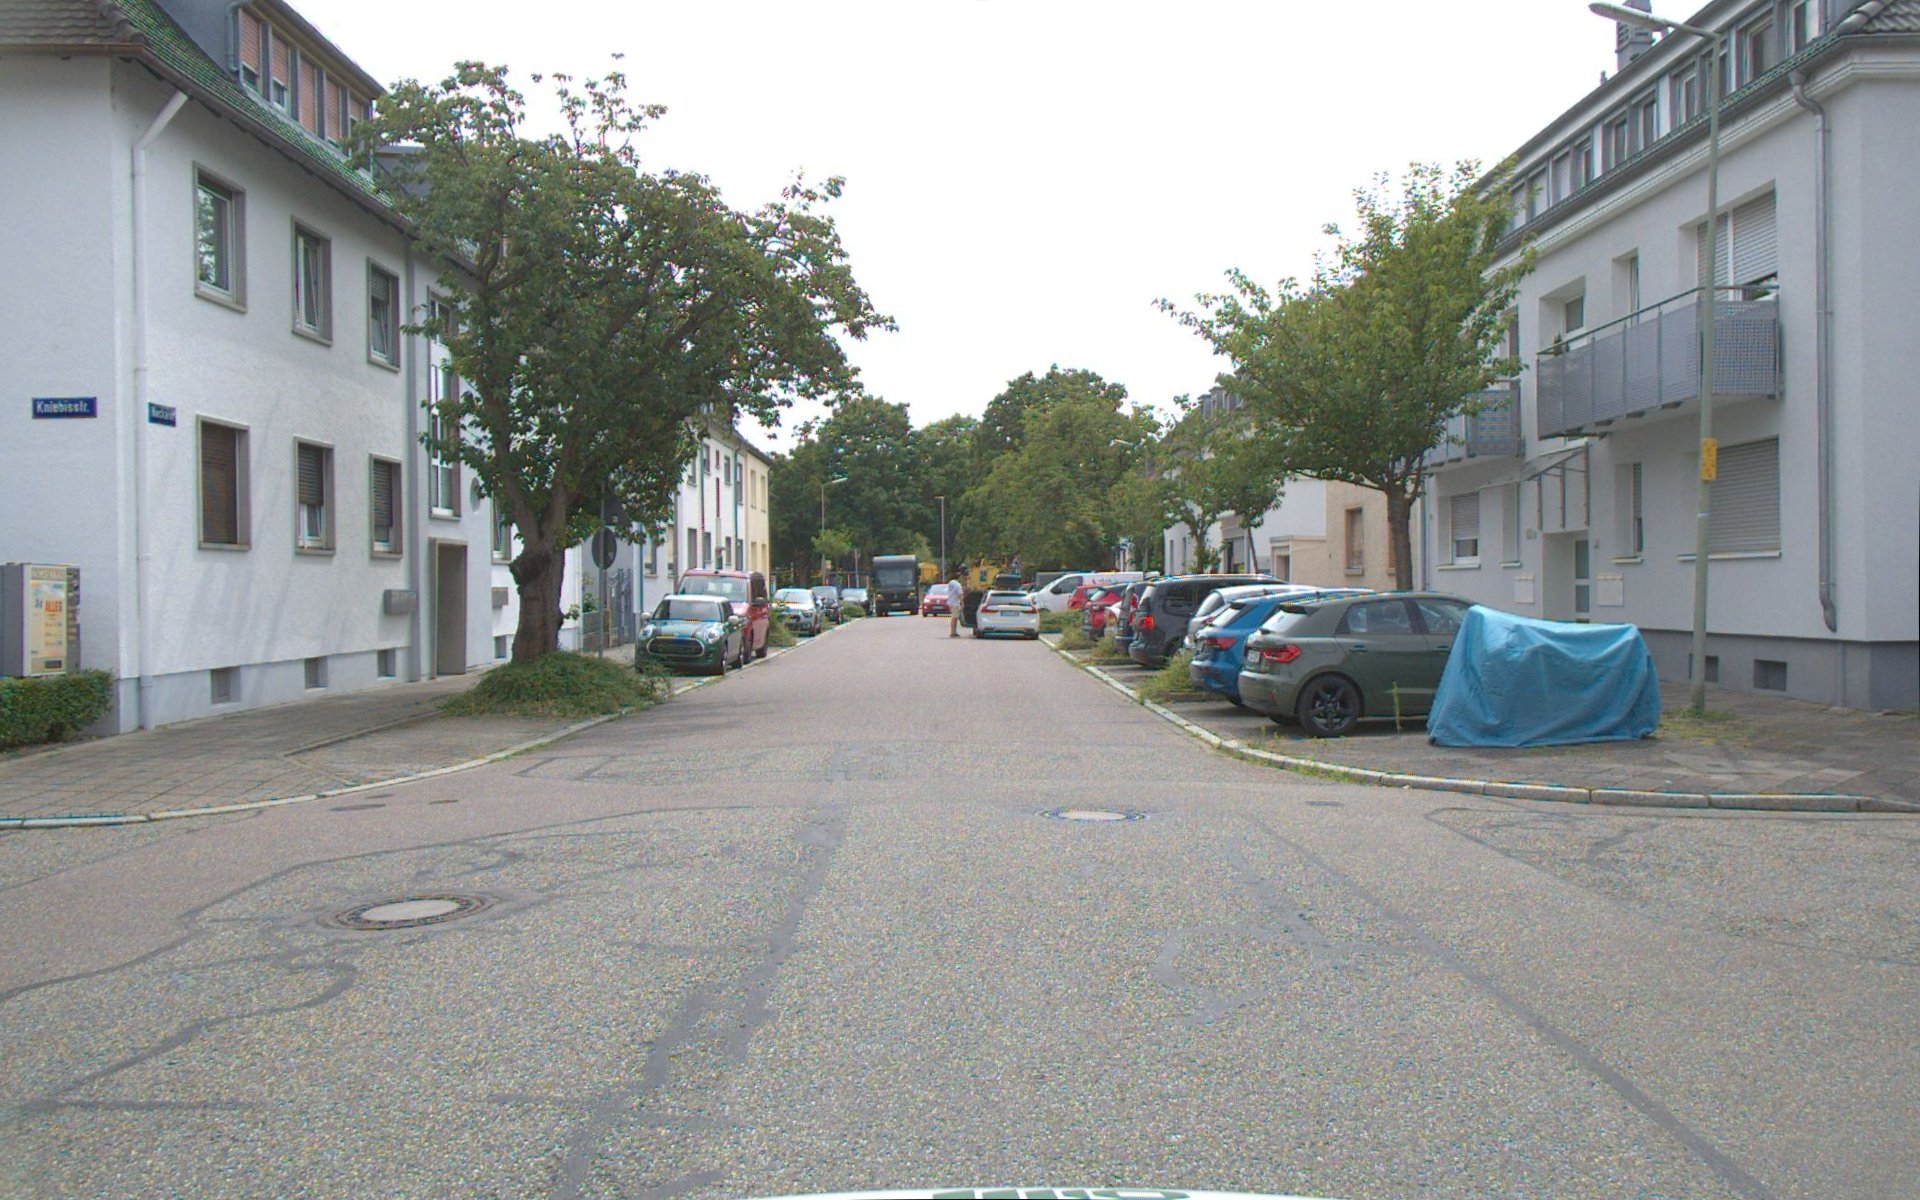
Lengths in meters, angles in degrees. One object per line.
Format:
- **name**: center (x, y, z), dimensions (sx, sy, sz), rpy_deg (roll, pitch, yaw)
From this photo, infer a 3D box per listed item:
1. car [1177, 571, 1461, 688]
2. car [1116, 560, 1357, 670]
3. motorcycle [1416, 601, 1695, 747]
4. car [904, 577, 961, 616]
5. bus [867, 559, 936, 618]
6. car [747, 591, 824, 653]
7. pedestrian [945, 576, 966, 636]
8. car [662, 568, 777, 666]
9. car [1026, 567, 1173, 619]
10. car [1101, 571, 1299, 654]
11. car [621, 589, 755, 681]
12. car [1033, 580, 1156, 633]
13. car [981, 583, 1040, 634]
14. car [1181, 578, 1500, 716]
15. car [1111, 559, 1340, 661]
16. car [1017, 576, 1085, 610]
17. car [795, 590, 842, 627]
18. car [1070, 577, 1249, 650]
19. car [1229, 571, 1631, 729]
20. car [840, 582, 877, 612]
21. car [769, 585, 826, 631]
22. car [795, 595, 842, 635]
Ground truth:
- **car**: center (5.413, 0.427, 25.255), dimensions (3.906, 1.545, 1.722), rpy_deg (-3, 0, -1)
- **car**: center (4.542, 0.238, 27.575), dimensions (3.671, 1.591, 1.773), rpy_deg (-3, 0, 1)
- **motorcycle**: center (5.292, 0.637, 14.795), dimensions (2.149, 1.232, 0.939), rpy_deg (-1, 0, -2)
- **car**: center (-1.241, -0.184, 76.957), dimensions (1.951, 1.646, 4.004), rpy_deg (-3, 0, 9)
- **bus**: center (-2.994, -0.636, 87.140), dimensions (2.942, 2.809, 8.926), rpy_deg (-3, 0, 1)
- **car**: center (-4.567, 0.555, 43.624), dimensions (1.618, 1.487, 3.552), rpy_deg (-3, 0, -1)
- **pedestrian**: center (-0.136, 0.178, 48.529), dimensions (0.511, 1.734, 0.445), rpy_deg (-3, 0, 3)
- **car**: center (-5.321, 0.338, 37.174), dimensions (1.953, 2.049, 4.520), rpy_deg (-1, 0, -1)
- **car**: center (4.839, -0.242, 57.641), dimensions (4.875, 1.545, 1.768), rpy_deg (-3, 0, -2)
- **car**: center (5.069, 0.255, 35.299), dimensions (3.906, 1.545, 1.722), rpy_deg (-3, 0, -1)
- **car**: center (-5.179, 0.617, 31.962), dimensions (1.726, 1.581, 3.732), rpy_deg (-3, 0, 3)
- **car**: center (4.466, 0.202, 55.254), dimensions (3.906, 1.545, 1.722), rpy_deg (-3, 0, -1)
- **car**: center (1.480, 0.233, 49.227), dimensions (1.652, 1.377, 3.827), rpy_deg (-3, 0, 1)
- **car**: center (4.507, 0.536, 19.914), dimensions (3.446, 1.437, 1.558), rpy_deg (-3, 0, 0)
- **car**: center (4.855, 0.173, 30.663), dimensions (3.905, 1.646, 1.867), rpy_deg (-3, 0, 0)
- **car**: center (4.776, -0.376, 87.403), dimensions (3.457, 1.630, 1.773), rpy_deg (-3, 0, 1)
- **car**: center (-5.852, 0.345, 68.768), dimensions (1.618, 1.401, 3.721), rpy_deg (-3, 0, -1)
- **car**: center (4.615, 0.301, 38.634), dimensions (3.906, 1.463, 1.722), rpy_deg (-3, 0, -1)
- **car**: center (4.818, 0.490, 17.336), dimensions (3.671, 1.389, 1.773), rpy_deg (-3, 0, 1)
- **car**: center (-5.387, -0.171, 88.038), dimensions (1.588, 1.528, 4.001), rpy_deg (-3, 0, 1)
- **car**: center (-5.393, 0.241, 55.154), dimensions (1.618, 1.401, 3.720), rpy_deg (-3, 0, -3)
- **car**: center (-5.116, 0.535, 60.218), dimensions (1.508, 1.324, 3.720), rpy_deg (-3, 0, -2)
